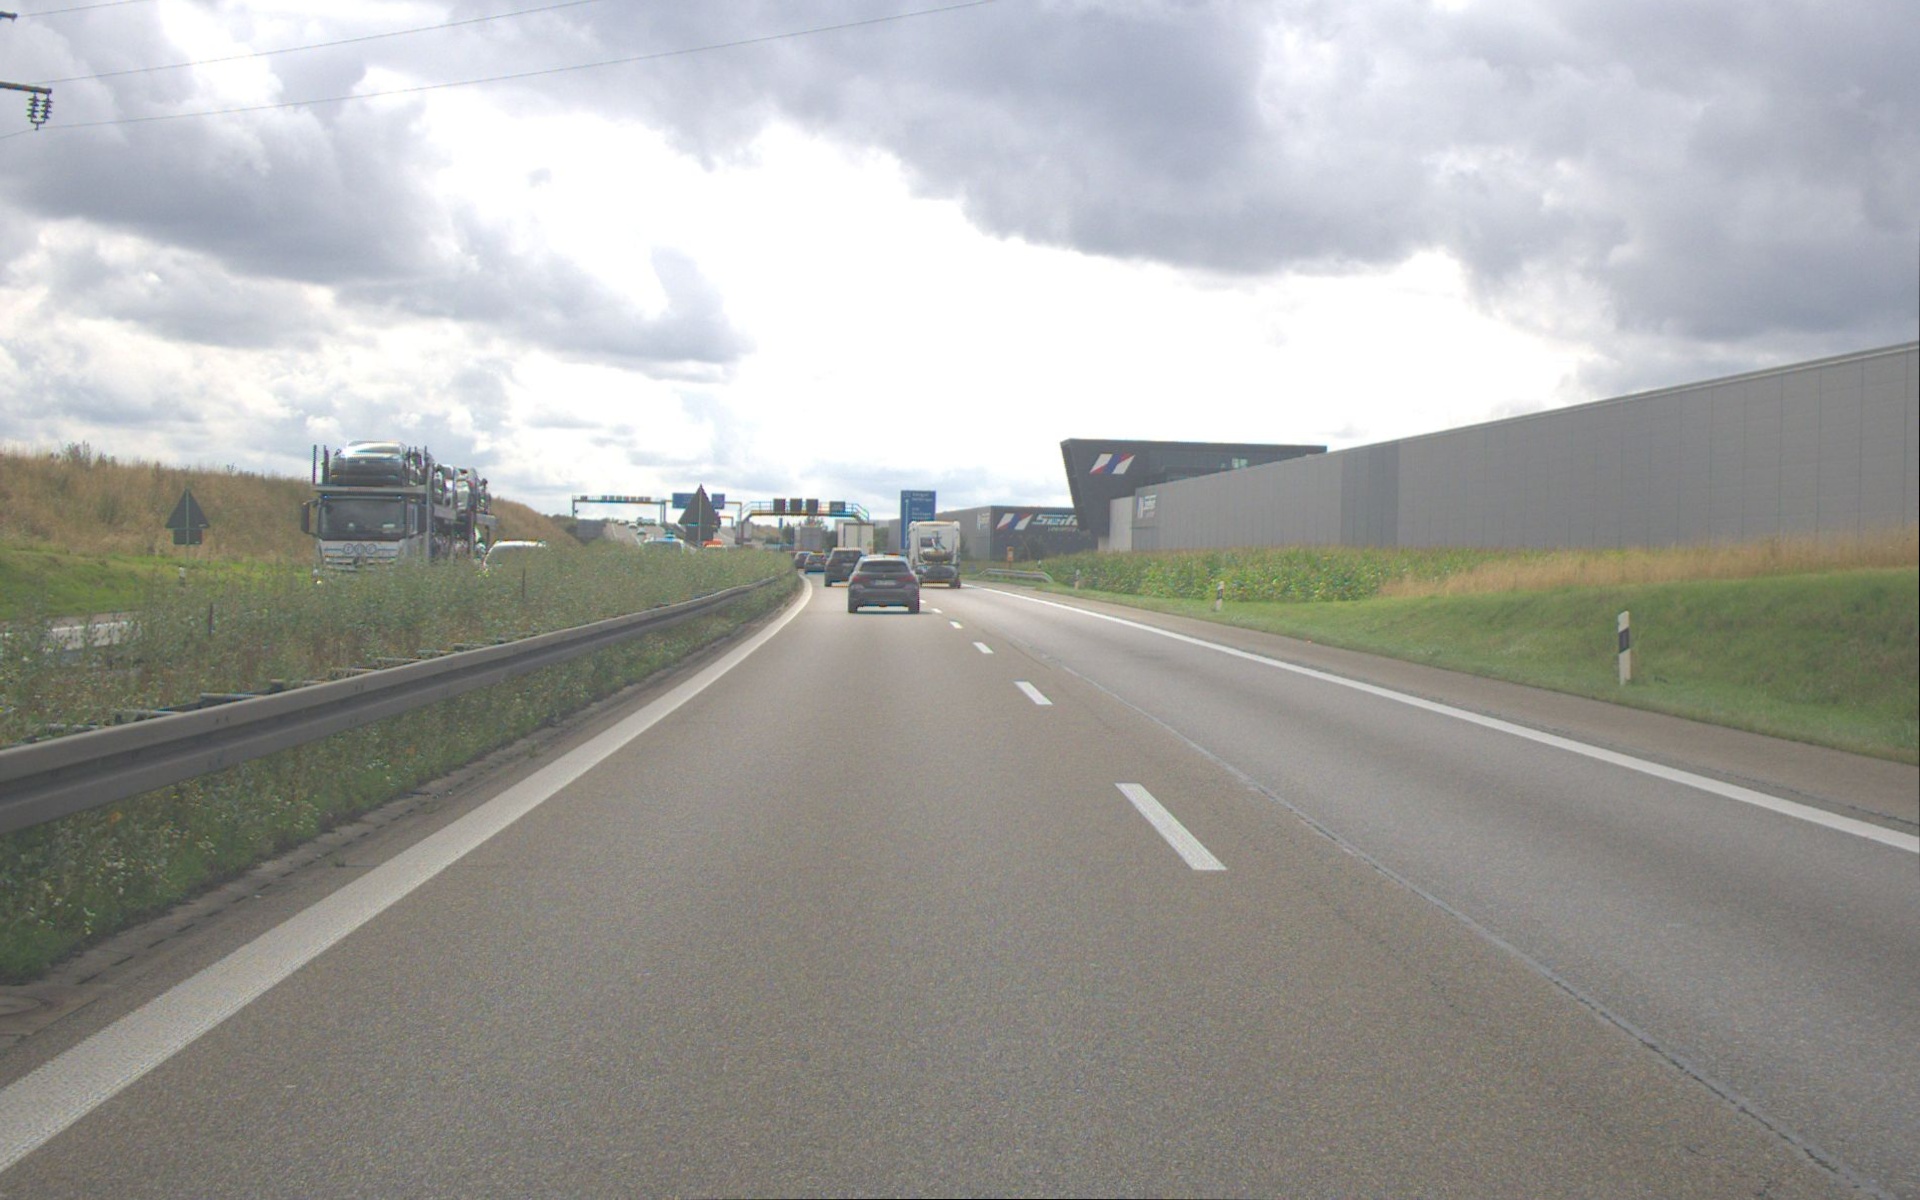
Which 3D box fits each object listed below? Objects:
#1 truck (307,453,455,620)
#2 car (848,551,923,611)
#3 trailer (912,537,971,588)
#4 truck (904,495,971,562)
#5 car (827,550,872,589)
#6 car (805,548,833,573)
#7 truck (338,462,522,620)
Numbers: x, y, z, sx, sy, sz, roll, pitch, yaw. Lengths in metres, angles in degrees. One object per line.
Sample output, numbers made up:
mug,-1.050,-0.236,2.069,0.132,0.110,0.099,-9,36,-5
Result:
truck,-14.090,-1.544,84.000,2.723,3.922,5.987,0,1,-1
car,-1.901,-0.486,87.051,1.746,1.448,4.000,1,1,-3
trailer,-0.809,-1.629,149.221,2.338,2.129,4.001,1,1,-3
truck,-1.050,-3.238,156.323,2.481,2.940,5.816,1,1,-5
car,-5.006,-1.375,155.271,1.945,1.679,4.001,1,1,-3
car,-10.106,-2.824,246.022,1.943,1.769,3.696,1,1,-2
truck,-14.320,-1.615,94.372,2.723,3.922,17.403,0,1,-1
